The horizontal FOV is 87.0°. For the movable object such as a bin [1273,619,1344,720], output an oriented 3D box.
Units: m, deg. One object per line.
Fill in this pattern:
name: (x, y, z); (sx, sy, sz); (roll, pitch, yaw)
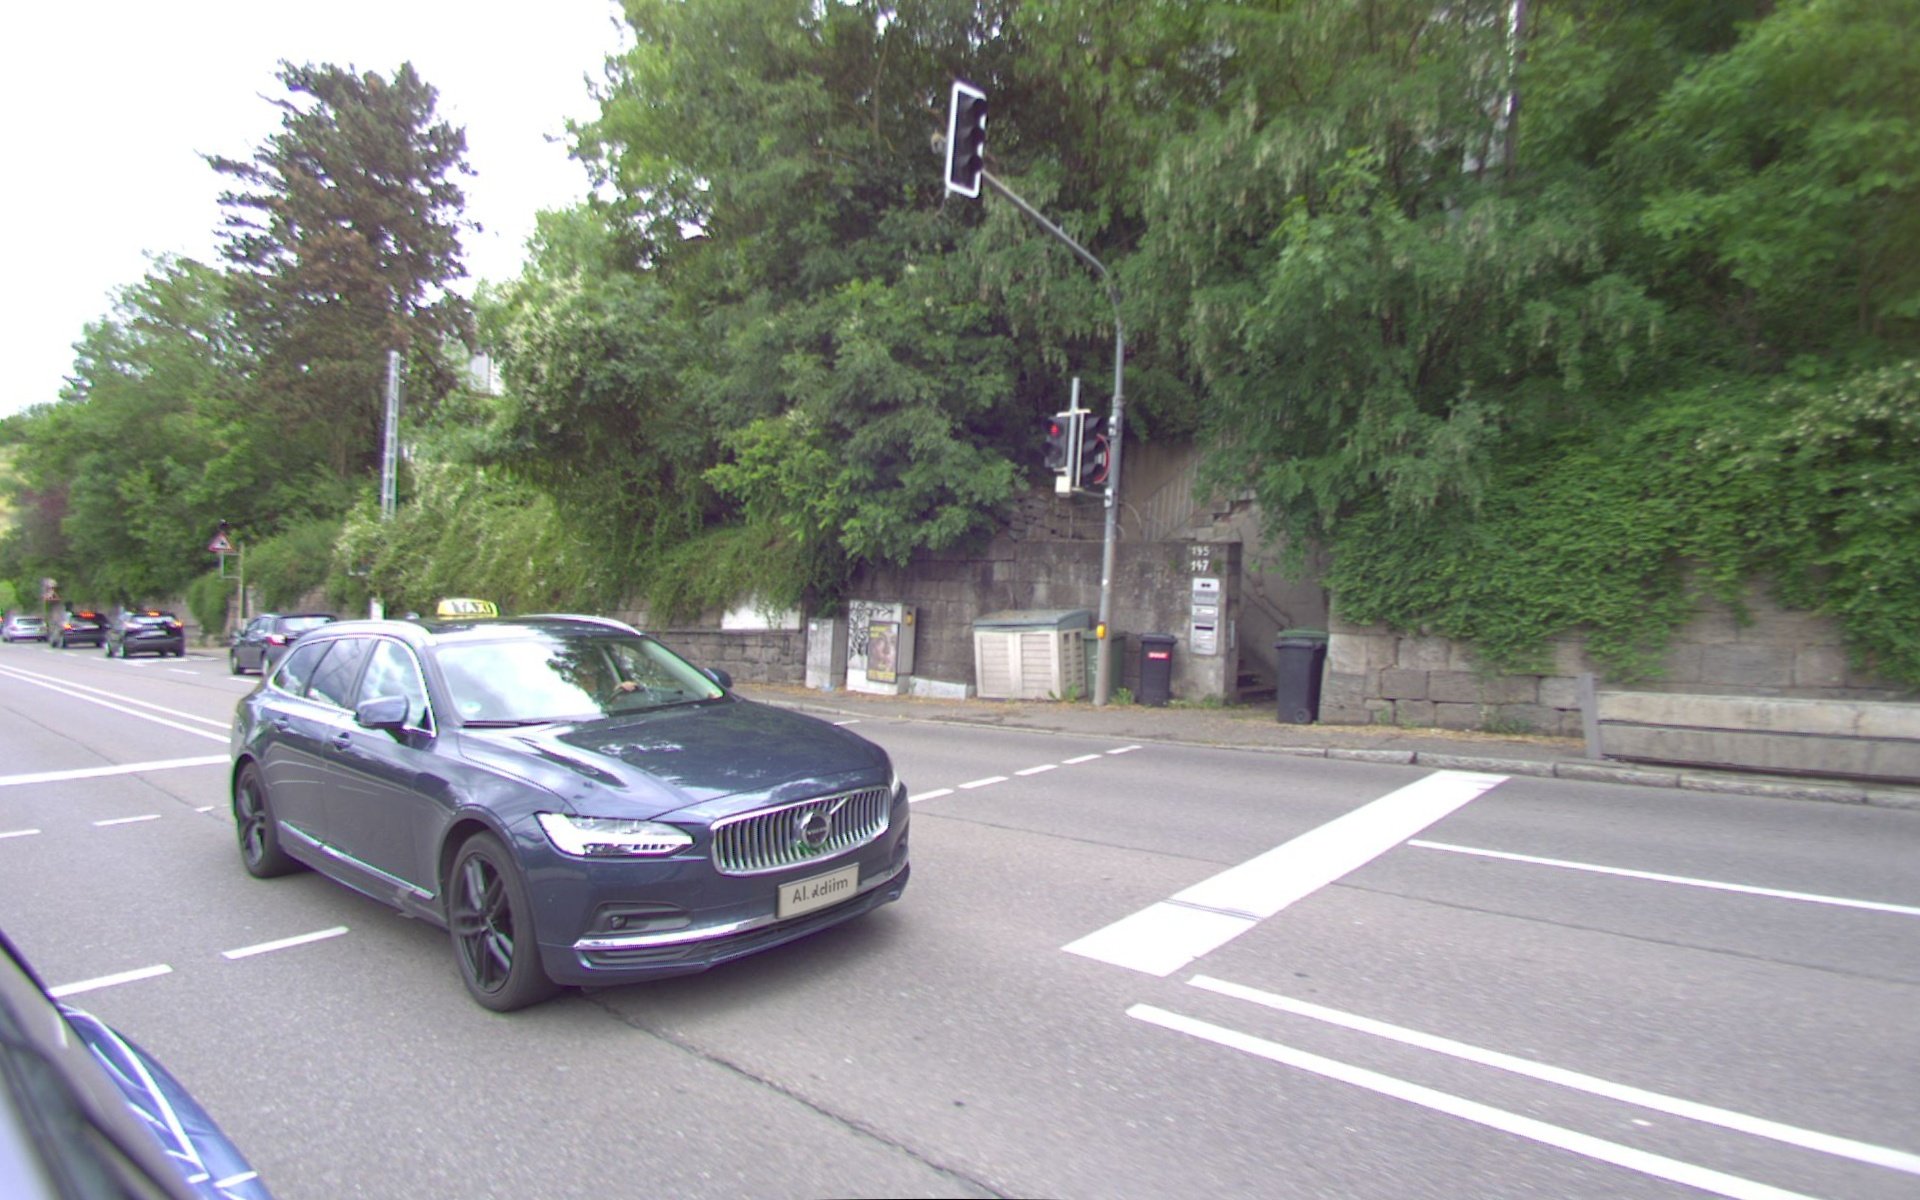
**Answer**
movable object such as a bin: (3.959, 0.769, 11.480); (0.556, 1.075, 0.635); (-1, 1, 40)

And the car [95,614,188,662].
car: (-28.160, 1.294, 34.760); (4.209, 1.493, 1.763); (-2, 0, 41)

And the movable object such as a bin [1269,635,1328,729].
movable object such as a bin: (3.670, 0.873, 10.968); (0.478, 0.957, 0.423); (-1, 1, 40)

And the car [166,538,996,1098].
car: (-2.363, 0.628, 5.267); (5.025, 1.588, 1.914); (-1, 1, 42)

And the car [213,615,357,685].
car: (-16.111, 1.112, 24.077); (4.247, 1.444, 1.794); (-1, 1, 41)

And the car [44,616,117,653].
car: (-39.148, 1.485, 45.016); (4.247, 1.560, 1.921); (-1, -1, 41)

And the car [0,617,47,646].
car: (-51.131, 1.693, 55.000); (4.229, 1.453, 1.659); (-2, 0, 40)
